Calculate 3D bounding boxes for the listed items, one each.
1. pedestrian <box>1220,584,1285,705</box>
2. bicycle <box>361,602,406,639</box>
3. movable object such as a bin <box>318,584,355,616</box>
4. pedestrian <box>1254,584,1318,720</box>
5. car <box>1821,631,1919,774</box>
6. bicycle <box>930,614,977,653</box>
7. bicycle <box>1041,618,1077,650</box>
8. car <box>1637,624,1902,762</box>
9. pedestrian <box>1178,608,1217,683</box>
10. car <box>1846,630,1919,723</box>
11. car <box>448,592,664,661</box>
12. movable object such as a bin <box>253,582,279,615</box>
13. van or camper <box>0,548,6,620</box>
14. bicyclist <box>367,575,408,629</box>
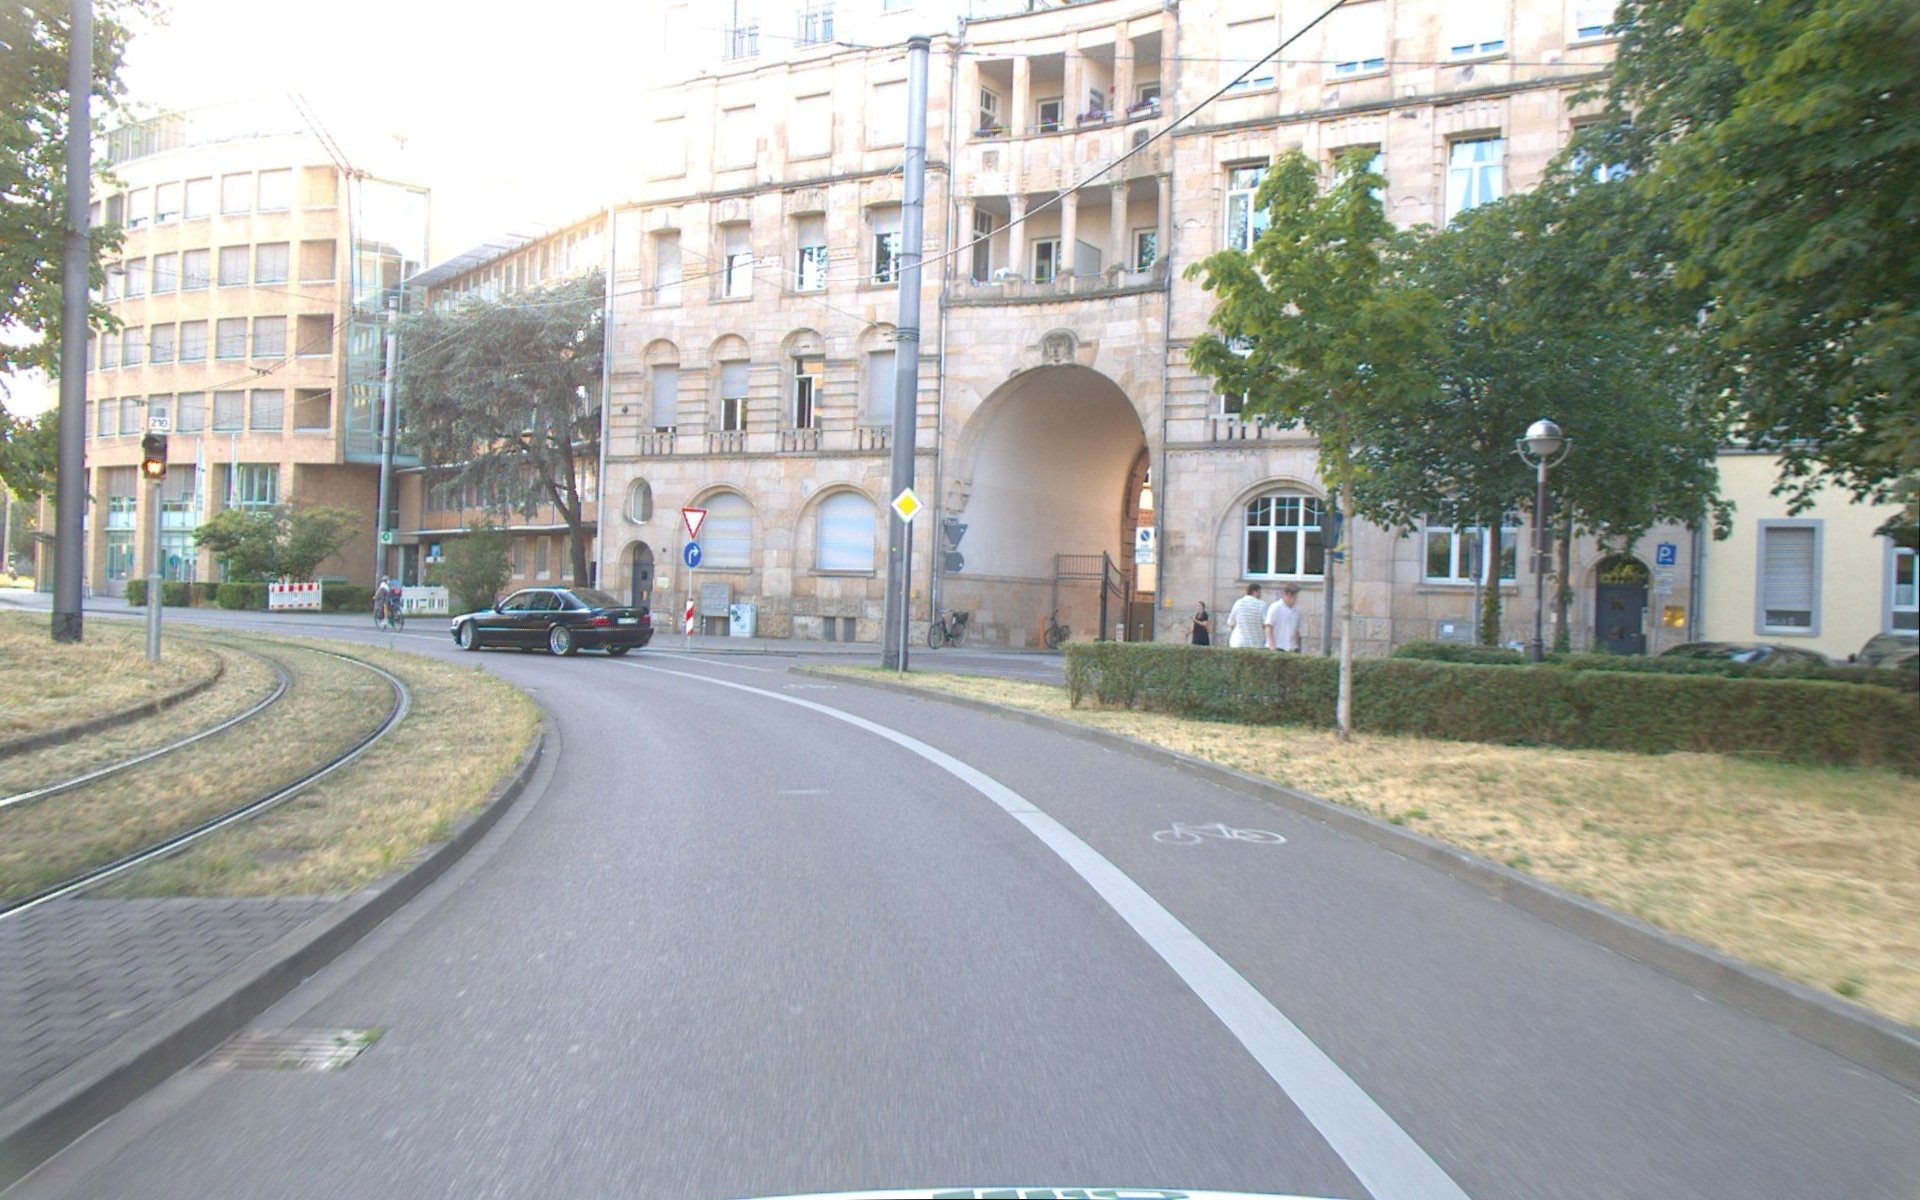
[{"bbox_3d":[4.533,0.678,25.663,0.583,1.823,0.815,2,1,-25],"label":"pedestrian"},{"bbox_3d":[-16.615,0.594,47.668,0.512,0.971,1.747,4,-1,-43],"label":"bicycle"},{"bbox_3d":[-29.211,0.011,77.477,1.334,1.449,0.909,2,1,-44],"label":"movable object such as a bin"},{"bbox_3d":[4.314,0.674,21.959,0.750,1.745,0.786,2,0,9],"label":"pedestrian"},{"bbox_3d":[12.355,1.233,20.375,4.035,1.584,1.837,1,1,-43],"label":"car"},{"bbox_3d":[-0.167,0.948,47.505,0.420,1.091,1.852,2,1,31],"label":"bicycle"},{"bbox_3d":[3.162,1.072,52.555,0.471,0.972,1.509,2,1,31],"label":"bicycle"},{"bbox_3d":[10.844,1.176,22.047,4.035,1.584,1.837,1,1,-43],"label":"car"},{"bbox_3d":[5.717,1.086,39.823,0.707,1.739,0.575,2,1,36],"label":"pedestrian"},{"bbox_3d":[18.296,1.426,31.790,1.800,1.585,4.386,3,1,33],"label":"car"},{"bbox_3d":[-8.676,0.527,35.411,4.540,1.378,1.832,0,0,31],"label":"car"},{"bbox_3d":[-32.039,-0.055,76.377,0.955,1.462,1.339,2,1,-17],"label":"movable object such as a bin"},{"bbox_3d":[-38.011,-0.700,62.257,4.420,2.670,2.258,3,1,40],"label":"van or camper"},{"bbox_3d":[-16.450,0.059,47.532,0.652,1.509,1.021,5,-3,-44],"label":"bicyclist"}]
